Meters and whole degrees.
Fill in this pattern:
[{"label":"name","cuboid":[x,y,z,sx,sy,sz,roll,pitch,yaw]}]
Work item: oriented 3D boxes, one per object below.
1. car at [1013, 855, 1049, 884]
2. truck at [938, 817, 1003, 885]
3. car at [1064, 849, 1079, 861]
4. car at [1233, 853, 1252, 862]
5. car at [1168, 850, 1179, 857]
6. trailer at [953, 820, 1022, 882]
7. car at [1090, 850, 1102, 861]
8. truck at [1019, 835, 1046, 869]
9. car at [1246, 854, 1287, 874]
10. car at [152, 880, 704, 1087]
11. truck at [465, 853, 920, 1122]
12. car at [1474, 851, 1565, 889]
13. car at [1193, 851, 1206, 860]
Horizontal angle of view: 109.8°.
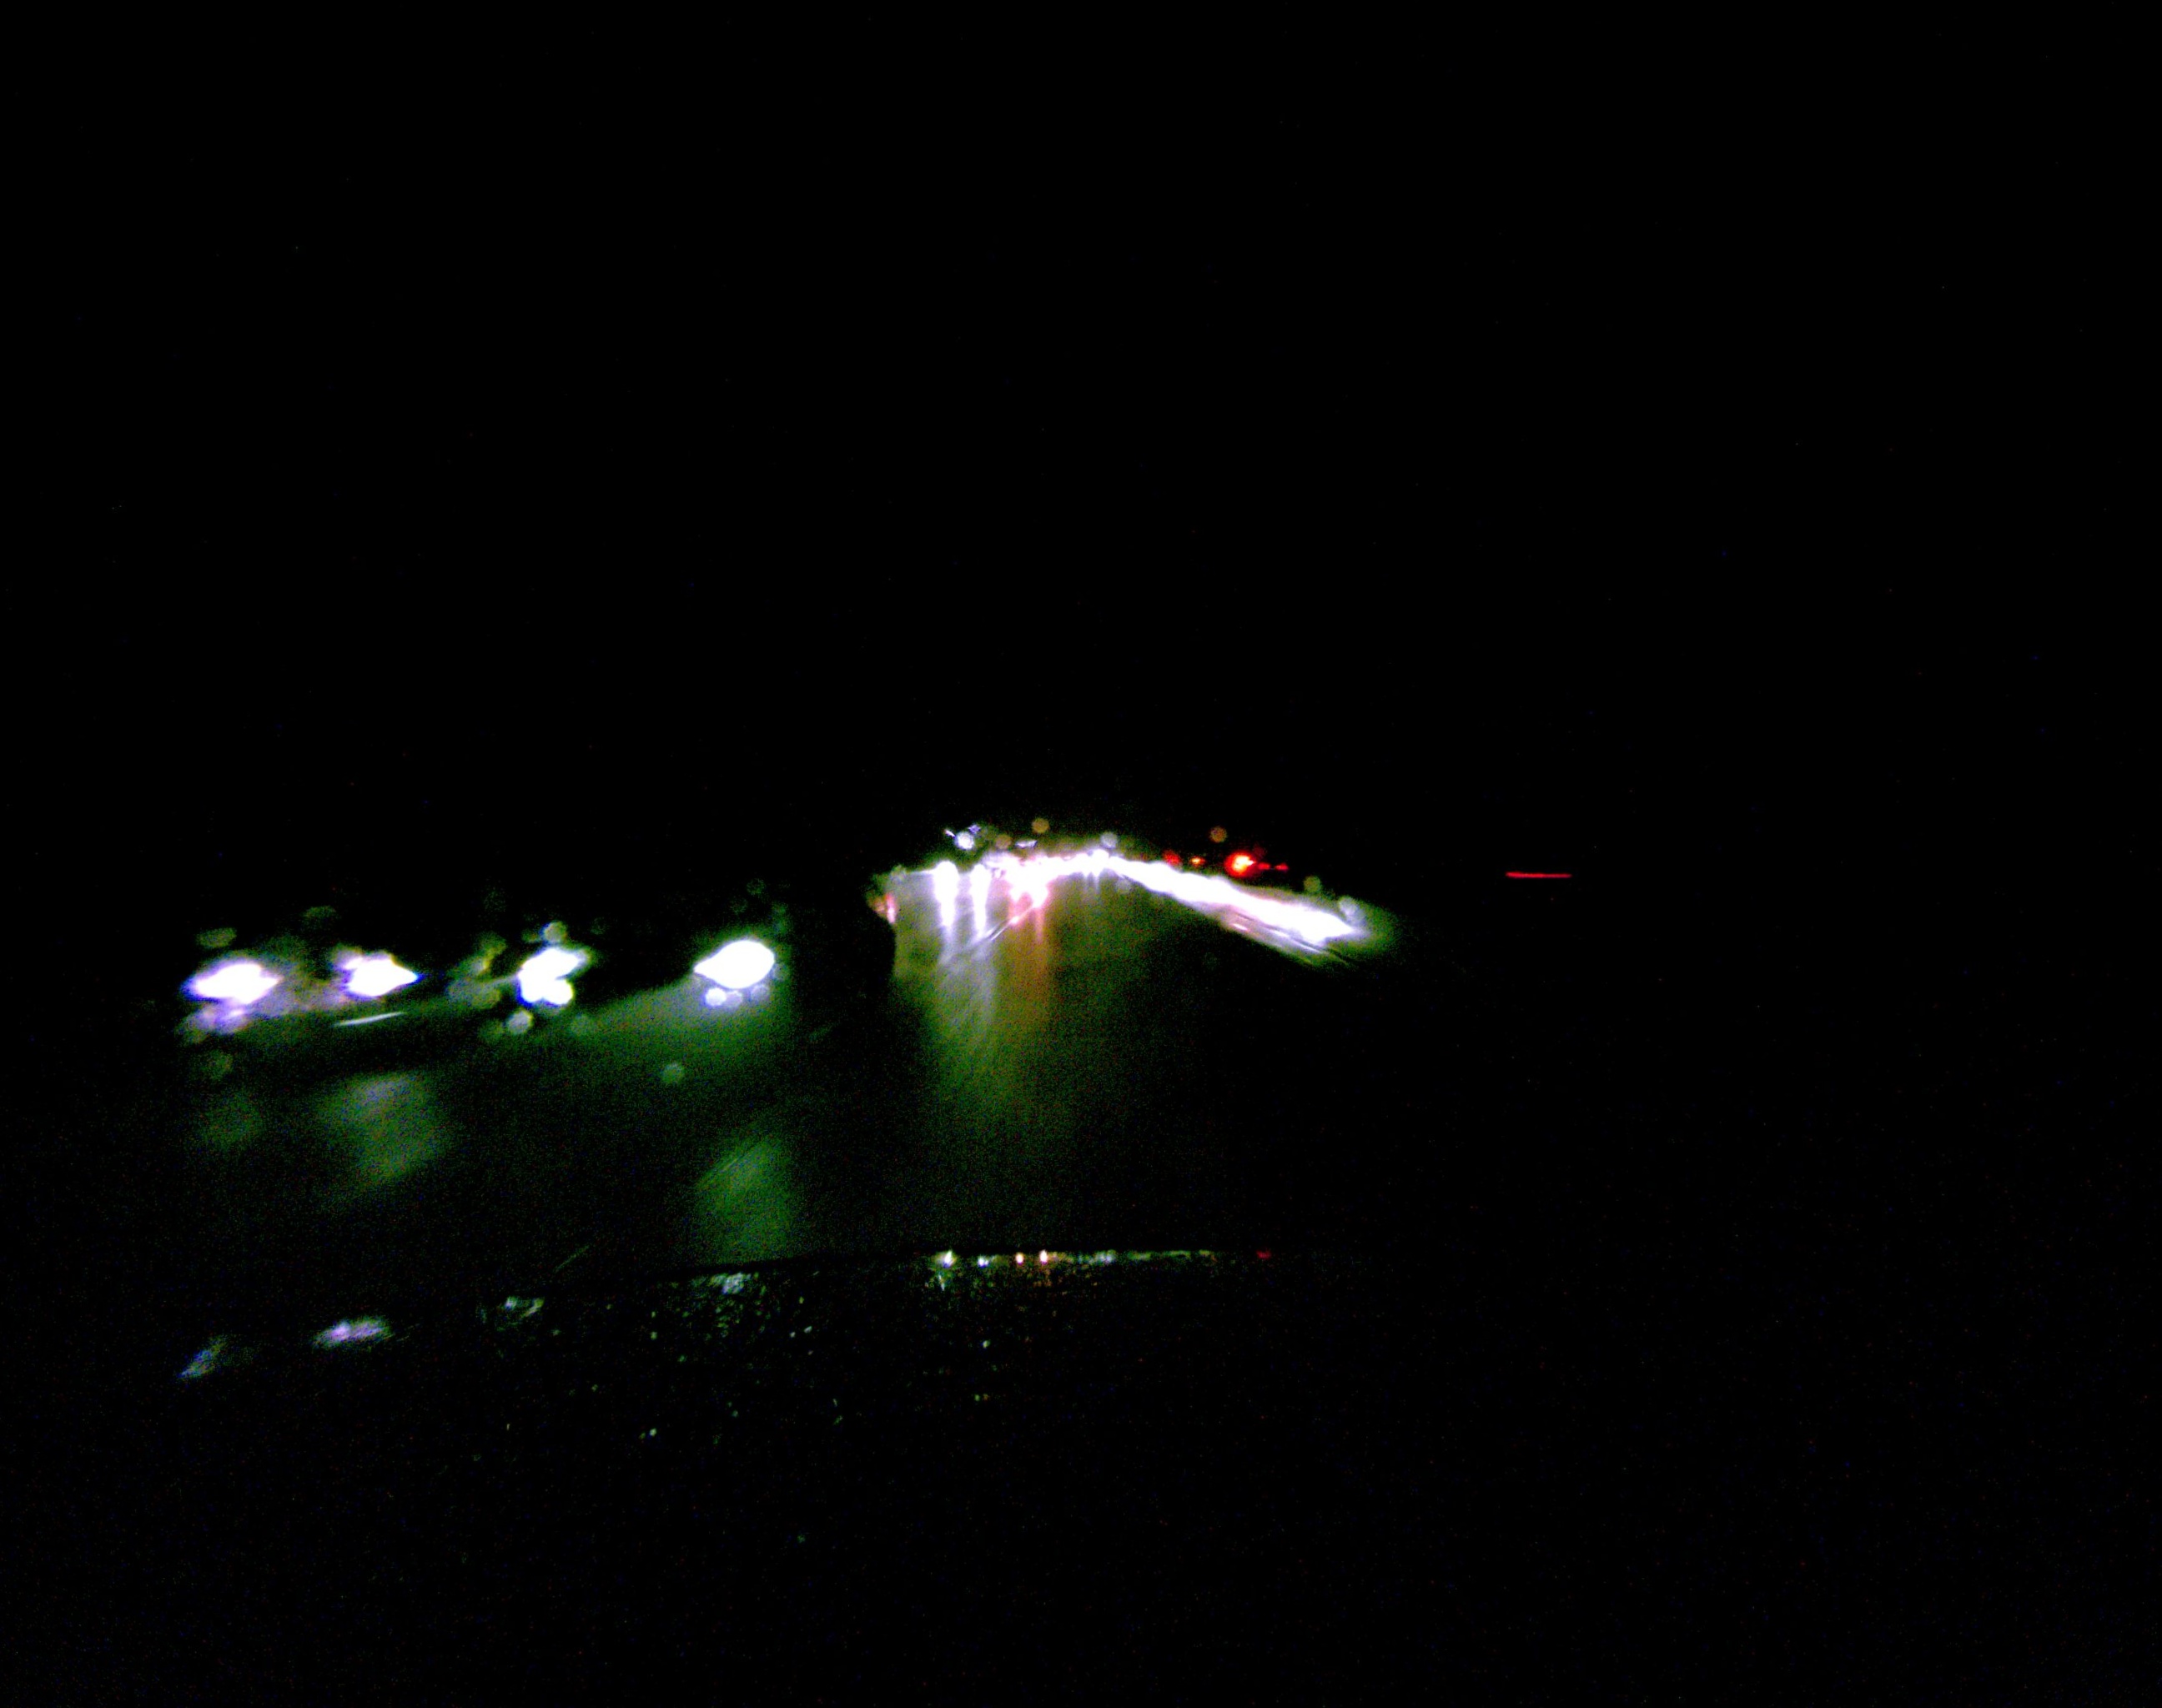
[{"label":"car","cuboid":[-2.804,0.864,43.563,1.619,1.494,3.767,-2,1,2]},{"label":"truck","cuboid":[-7.195,-0.213,50.497,2.866,4.079,7.014,-3,1,2]},{"label":"car","cuboid":[-1.429,0.122,111.480,1.944,1.521,4.000,-2,1,2]},{"label":"car","cuboid":[21.802,0.468,102.851,1.642,1.096,4.046,-3,1,0]},{"label":"car","cuboid":[19.727,-0.069,162.486,1.787,1.414,4.352,1,1,-1]},{"label":"trailer","cuboid":[-6.871,-0.305,58.141,2.871,4.074,13.641,-2,1,2]},{"label":"car","cuboid":[2.122,0.223,108.635,1.619,1.452,3.767,-2,1,2]},{"label":"truck","cuboid":[-6.404,-0.279,101.629,2.777,4.168,6.016,-3,1,2]},{"label":"car","cuboid":[13.619,0.712,56.088,1.998,1.407,4.589,0,0,1]},{"label":"car","cuboid":[-6.727,1.163,8.957,1.747,1.470,5.366,-3,0,1]},{"label":"truck","cuboid":[-3.111,0.899,7.512,1.848,1.686,4.854,-3,1,1]},{"label":"car","cuboid":[24.071,0.815,41.993,1.998,1.936,5.386,0,0,1]},{"label":"car","cuboid":[22.885,0.240,147.107,1.897,1.574,5.371,-2,1,2]}]
